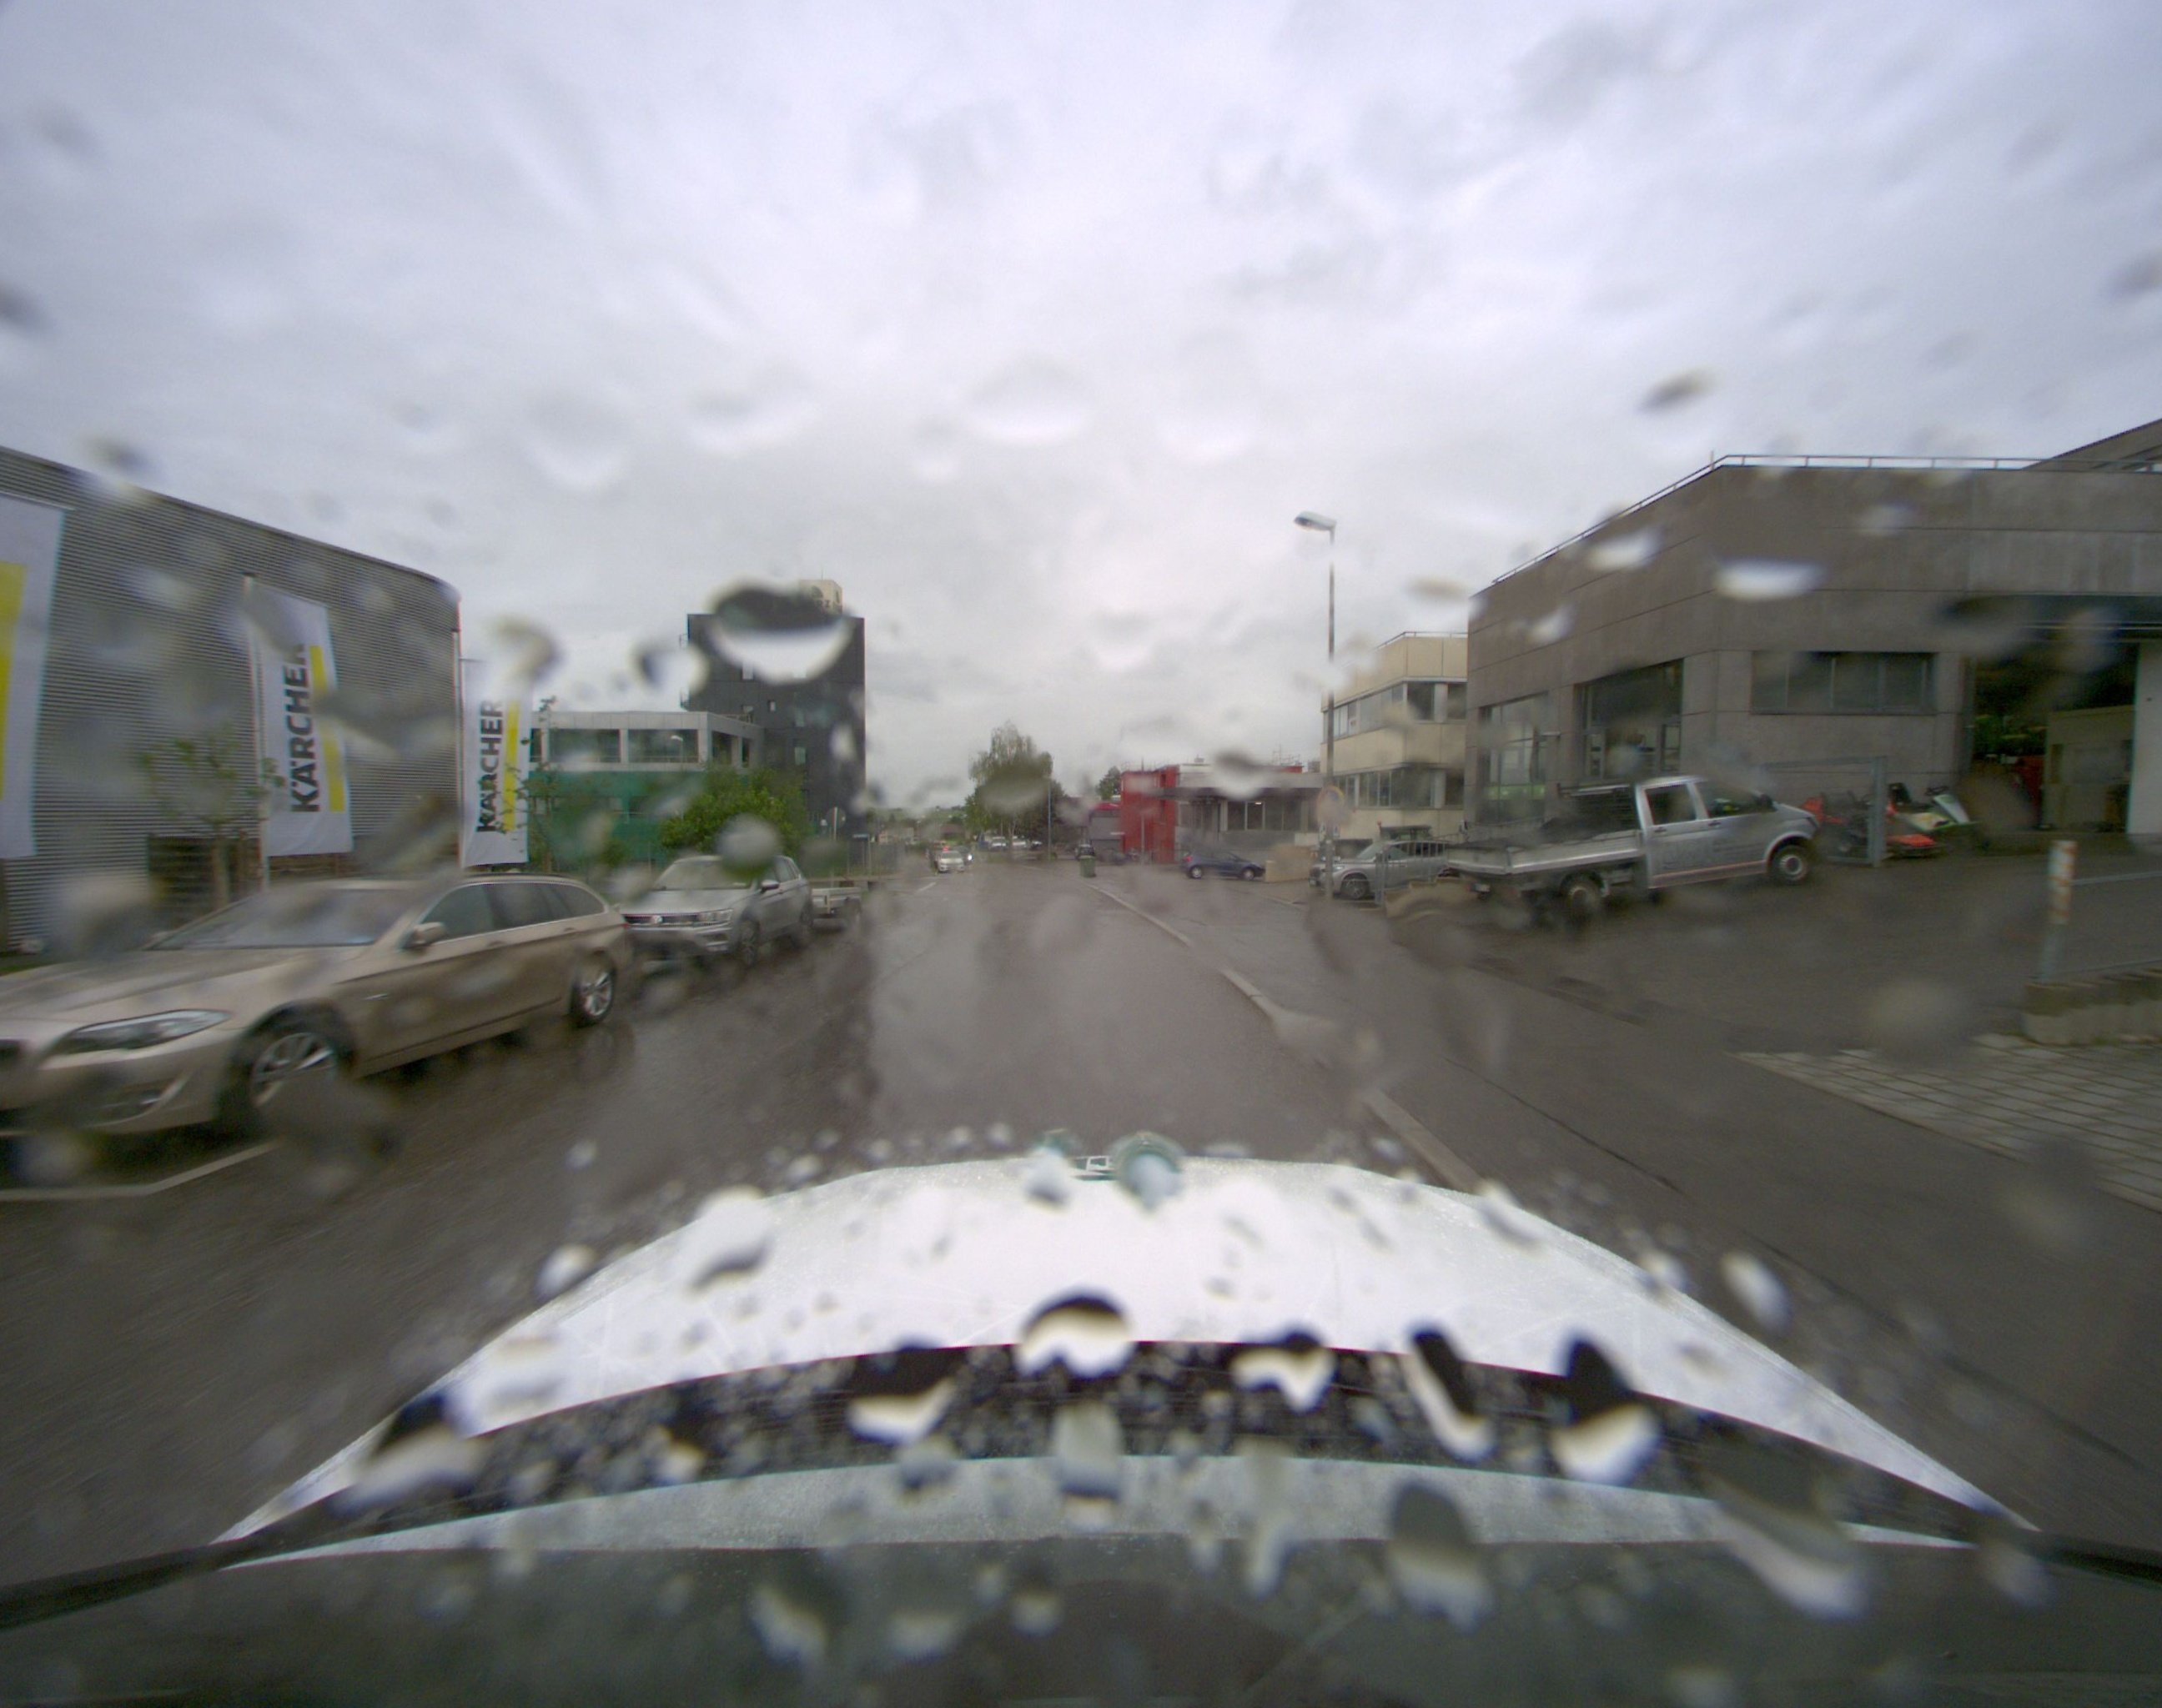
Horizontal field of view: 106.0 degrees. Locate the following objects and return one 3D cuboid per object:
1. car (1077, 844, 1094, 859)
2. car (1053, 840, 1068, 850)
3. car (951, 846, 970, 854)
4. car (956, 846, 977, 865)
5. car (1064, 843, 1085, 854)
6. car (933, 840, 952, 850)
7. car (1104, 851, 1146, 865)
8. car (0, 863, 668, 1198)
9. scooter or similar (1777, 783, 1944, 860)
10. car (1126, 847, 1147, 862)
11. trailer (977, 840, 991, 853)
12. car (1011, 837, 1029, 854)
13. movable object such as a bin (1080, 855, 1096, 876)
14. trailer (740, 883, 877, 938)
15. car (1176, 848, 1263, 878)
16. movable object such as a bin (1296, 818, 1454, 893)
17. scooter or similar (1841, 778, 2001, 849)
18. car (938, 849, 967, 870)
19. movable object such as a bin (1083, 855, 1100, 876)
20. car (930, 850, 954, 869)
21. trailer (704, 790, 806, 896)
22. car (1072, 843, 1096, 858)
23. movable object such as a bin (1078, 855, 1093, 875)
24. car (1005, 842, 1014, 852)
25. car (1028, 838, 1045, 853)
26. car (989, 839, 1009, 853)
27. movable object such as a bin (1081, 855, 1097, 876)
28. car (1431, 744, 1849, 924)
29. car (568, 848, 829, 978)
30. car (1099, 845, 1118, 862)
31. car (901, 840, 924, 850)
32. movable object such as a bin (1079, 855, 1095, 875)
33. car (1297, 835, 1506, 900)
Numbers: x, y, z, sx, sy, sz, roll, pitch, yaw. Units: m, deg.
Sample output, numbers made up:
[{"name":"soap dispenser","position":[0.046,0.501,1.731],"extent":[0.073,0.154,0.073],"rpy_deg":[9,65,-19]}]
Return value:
[{"name":"car","position":[0.442,-0.245,84.082],"extent":[1.692,1.475,3.997],"rpy_deg":[-1,-1,-2]},{"name":"car","position":[-3.174,-1.370,126.087],"extent":[1.637,1.453,3.498],"rpy_deg":[-1,-1,-11]},{"name":"car","position":[-24.135,-0.759,163.046],"extent":[2.475,1.539,3.963],"rpy_deg":[-1,-1,-28]},{"name":"car","position":[-11.790,0.115,83.996],"extent":[1.882,1.886,5.061],"rpy_deg":[0,0,-6]},{"name":"car","position":[-0.866,-0.697,106.145],"extent":[2.545,1.352,1.239],"rpy_deg":[-1,0,-7]},{"name":"car","position":[-33.486,-2.189,196.651],"extent":[4.221,2.226,2.002],"rpy_deg":[-1,-1,4]},{"name":"car","position":[3.561,0.317,66.367],"extent":[3.389,1.163,1.792],"rpy_deg":[0,0,0]},{"name":"car","position":[-5.488,0.845,6.329],"extent":[1.950,1.461,5.244],"rpy_deg":[-1,0,-1]},{"name":"scooter or similar","position":[14.133,-0.592,14.868],"extent":[1.060,1.224,2.065],"rpy_deg":[-4,2,2]},{"name":"car","position":[5.681,0.082,84.040],"extent":[1.724,1.422,3.997],"rpy_deg":[-1,-1,-2]},{"name":"trailer","position":[-14.511,-1.122,122.003],"extent":[1.852,2.013,3.988],"rpy_deg":[-1,0,-9]},{"name":"car","position":[-8.941,-1.232,118.654],"extent":[2.193,2.459,3.986],"rpy_deg":[-1,-1,-10]},{"name":"movable object such as a bin","position":[0.387,0.621,44.859],"extent":[0.808,1.090,0.540],"rpy_deg":[-1,0,-7]},{"name":"trailer","position":[-5.550,1.113,17.083],"extent":[1.676,0.888,3.893],"rpy_deg":[-1,-1,-2]},{"name":"car","position":[6.667,0.434,39.576],"extent":[3.885,1.383,1.819],"rpy_deg":[1,-1,-3]},{"name":"movable object such as a bin","position":[8.834,0.049,24.665],"extent":[4.242,2.110,1.476],"rpy_deg":[-1,0,-1]},{"name":"scooter or similar","position":[15.344,-0.710,14.959],"extent":[1.000,1.155,1.846],"rpy_deg":[-4,0,1]},{"name":"car","position":[-9.587,0.427,60.561],"extent":[1.772,1.513,4.126],"rpy_deg":[-1,0,-13]},{"name":"movable object such as a bin","position":[0.551,0.622,43.644],"extent":[0.805,1.092,0.708],"rpy_deg":[-1,0,-7]},{"name":"car","position":[-12.181,0.454,71.246],"extent":[1.703,1.609,3.981],"rpy_deg":[-2,1,-14]},{"name":"trailer","position":[-13.741,-0.408,34.254],"extent":[4.132,4.203,2.019],"rpy_deg":[-1,0,37]},{"name":"car","position":[0.310,-0.394,91.556],"extent":[2.065,1.552,3.987],"rpy_deg":[-1,-1,-9]},{"name":"movable object such as a bin","position":[0.255,0.611,46.017],"extent":[0.801,1.079,0.623],"rpy_deg":[-1,0,-7]},{"name":"car","position":[-10.932,-1.113,124.170],"extent":[1.289,1.424,2.539],"rpy_deg":[-1,-1,-8]},{"name":"car","position":[-6.519,-1.211,119.717],"extent":[2.144,2.014,3.928],"rpy_deg":[-1,-1,-8]},{"name":"car","position":[-11.928,-1.143,118.099],"extent":[2.270,2.014,3.977],"rpy_deg":[-1,-1,-17]},{"name":"movable object such as a bin","position":[0.436,0.625,44.287],"extent":[0.774,1.076,0.582],"rpy_deg":[-1,0,-7]},{"name":"car","position":[9.024,-0.309,13.536],"extent":[5.285,2.013,2.220],"rpy_deg":[-8,0,-2]},{"name":"car","position":[-5.568,0.761,12.704],"extent":[1.953,1.577,4.835],"rpy_deg":[-1,-1,-3]},{"name":"car","position":[2.794,-0.044,84.666],"extent":[1.734,1.653,3.997],"rpy_deg":[-1,-1,-2]},{"name":"car","position":[-32.000,-1.628,155.065],"extent":[3.976,1.881,1.999],"rpy_deg":[0,0,-2]},{"name":"movable object such as a bin","position":[0.324,0.623,45.416],"extent":[0.808,1.076,0.580],"rpy_deg":[-1,0,-7]},{"name":"car","position":[8.844,0.332,22.748],"extent":[5.079,1.613,1.923],"rpy_deg":[-1,1,-3]}]
